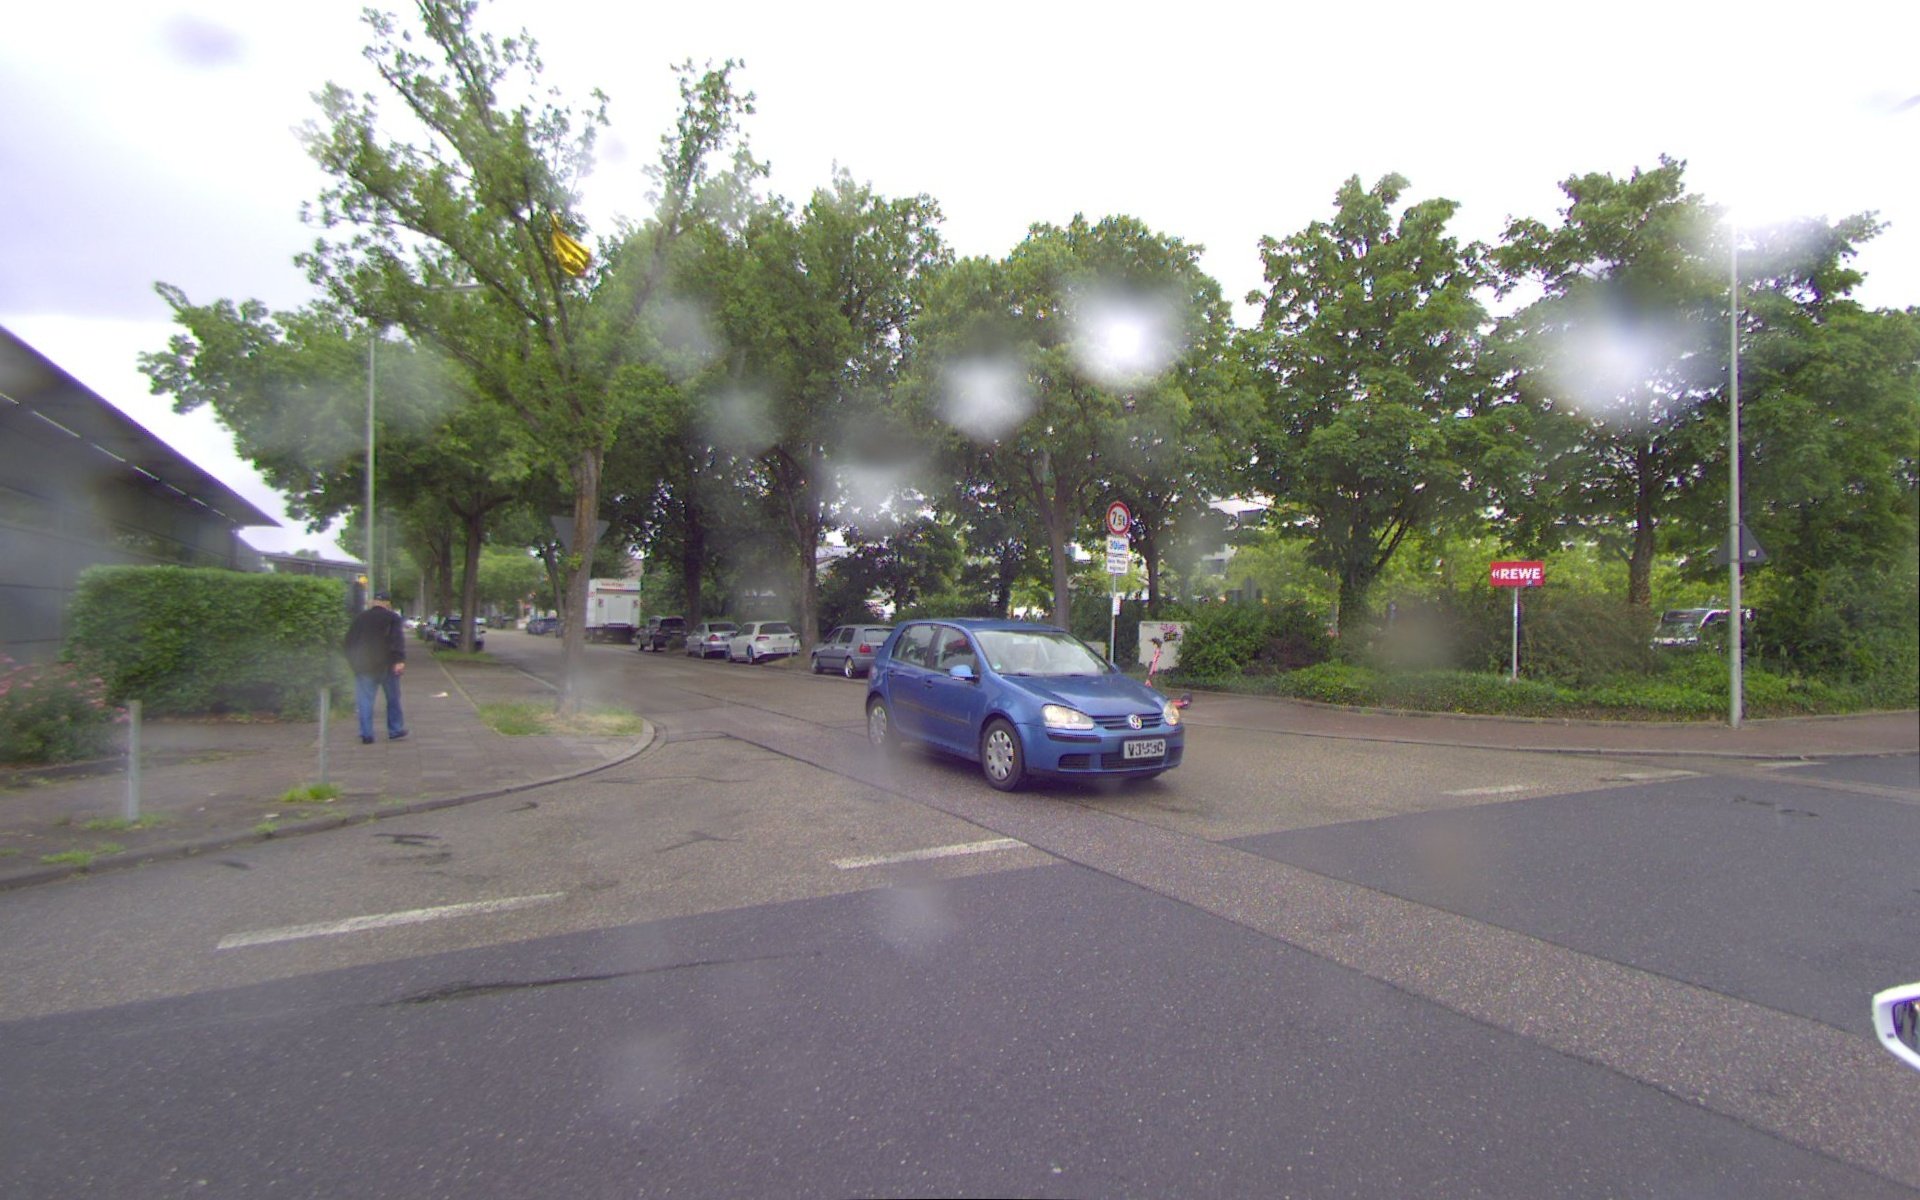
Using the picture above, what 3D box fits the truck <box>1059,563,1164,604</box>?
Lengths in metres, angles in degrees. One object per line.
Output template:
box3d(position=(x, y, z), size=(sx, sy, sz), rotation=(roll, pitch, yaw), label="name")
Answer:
box3d(position=(8.650, -0.900, 57.203), size=(6.065, 2.087, 1.983), rotation=(2, -1, -31), label="truck")

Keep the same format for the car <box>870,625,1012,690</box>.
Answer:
box3d(position=(-0.537, 1.282, 23.543), size=(1.715, 1.381, 3.970), rotation=(1, -2, -29), label="car")

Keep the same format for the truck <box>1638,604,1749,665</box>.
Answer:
box3d(position=(35.404, 1.660, 48.419), size=(6.392, 2.789, 1.984), rotation=(2, -1, -30), label="truck")

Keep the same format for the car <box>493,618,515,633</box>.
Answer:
box3d(position=(-52.497, 2.919, 115.610), size=(1.904, 1.593, 3.967), rotation=(2, -2, -31), label="car")

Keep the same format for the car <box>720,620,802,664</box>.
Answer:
box3d(position=(-7.061, 1.471, 35.418), size=(1.715, 1.460, 3.970), rotation=(1, -2, -29), label="car")

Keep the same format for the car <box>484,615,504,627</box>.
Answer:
box3d(position=(-59.531, 2.675, 128.382), size=(1.904, 1.593, 3.967), rotation=(2, -2, -31), label="car")

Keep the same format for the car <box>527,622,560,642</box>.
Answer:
box3d(position=(-34.541, 2.635, 83.219), size=(1.904, 1.593, 3.967), rotation=(2, -2, -31), label="car")

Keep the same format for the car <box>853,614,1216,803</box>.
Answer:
box3d(position=(0.498, 0.903, 9.942), size=(1.715, 1.460, 3.970), rotation=(1, -2, -29), label="car")

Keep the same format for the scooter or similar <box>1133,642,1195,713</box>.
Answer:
box3d(position=(3.505, 1.319, 17.261), size=(1.044, 1.191, 0.283), rotation=(1, -1, -22), label="scooter or similar")

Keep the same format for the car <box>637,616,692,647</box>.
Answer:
box3d(position=(-14.127, 1.509, 47.872), size=(1.715, 1.401, 4.066), rotation=(1, -2, -29), label="car")

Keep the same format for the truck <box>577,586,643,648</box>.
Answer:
box3d(position=(-21.248, 1.026, 60.734), size=(2.572, 3.515, 6.762), rotation=(2, -2, -29), label="truck")

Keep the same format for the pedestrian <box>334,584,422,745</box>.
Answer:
box3d(position=(-6.420, 0.690, 11.117), size=(0.748, 1.696, 0.777), rotation=(1, -1, -26), label="pedestrian")

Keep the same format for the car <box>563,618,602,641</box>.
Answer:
box3d(position=(-26.980, 2.119, 71.767), size=(1.904, 1.593, 3.967), rotation=(2, -2, -31), label="car")

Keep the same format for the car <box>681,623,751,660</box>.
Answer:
box3d(position=(-9.802, 1.626, 40.154), size=(1.715, 1.401, 4.066), rotation=(1, -2, -29), label="car")

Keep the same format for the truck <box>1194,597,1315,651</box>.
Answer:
box3d(position=(15.099, 1.259, 51.342), size=(6.315, 2.636, 1.986), rotation=(1, -1, -28), label="truck")

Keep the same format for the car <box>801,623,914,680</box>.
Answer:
box3d(position=(-2.902, 1.379, 27.840), size=(1.715, 1.460, 3.970), rotation=(1, -2, -29), label="car")

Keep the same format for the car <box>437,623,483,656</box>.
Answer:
box3d(position=(-20.167, 1.572, 40.503), size=(1.550, 1.218, 3.972), rotation=(2, -2, -27), label="car")
